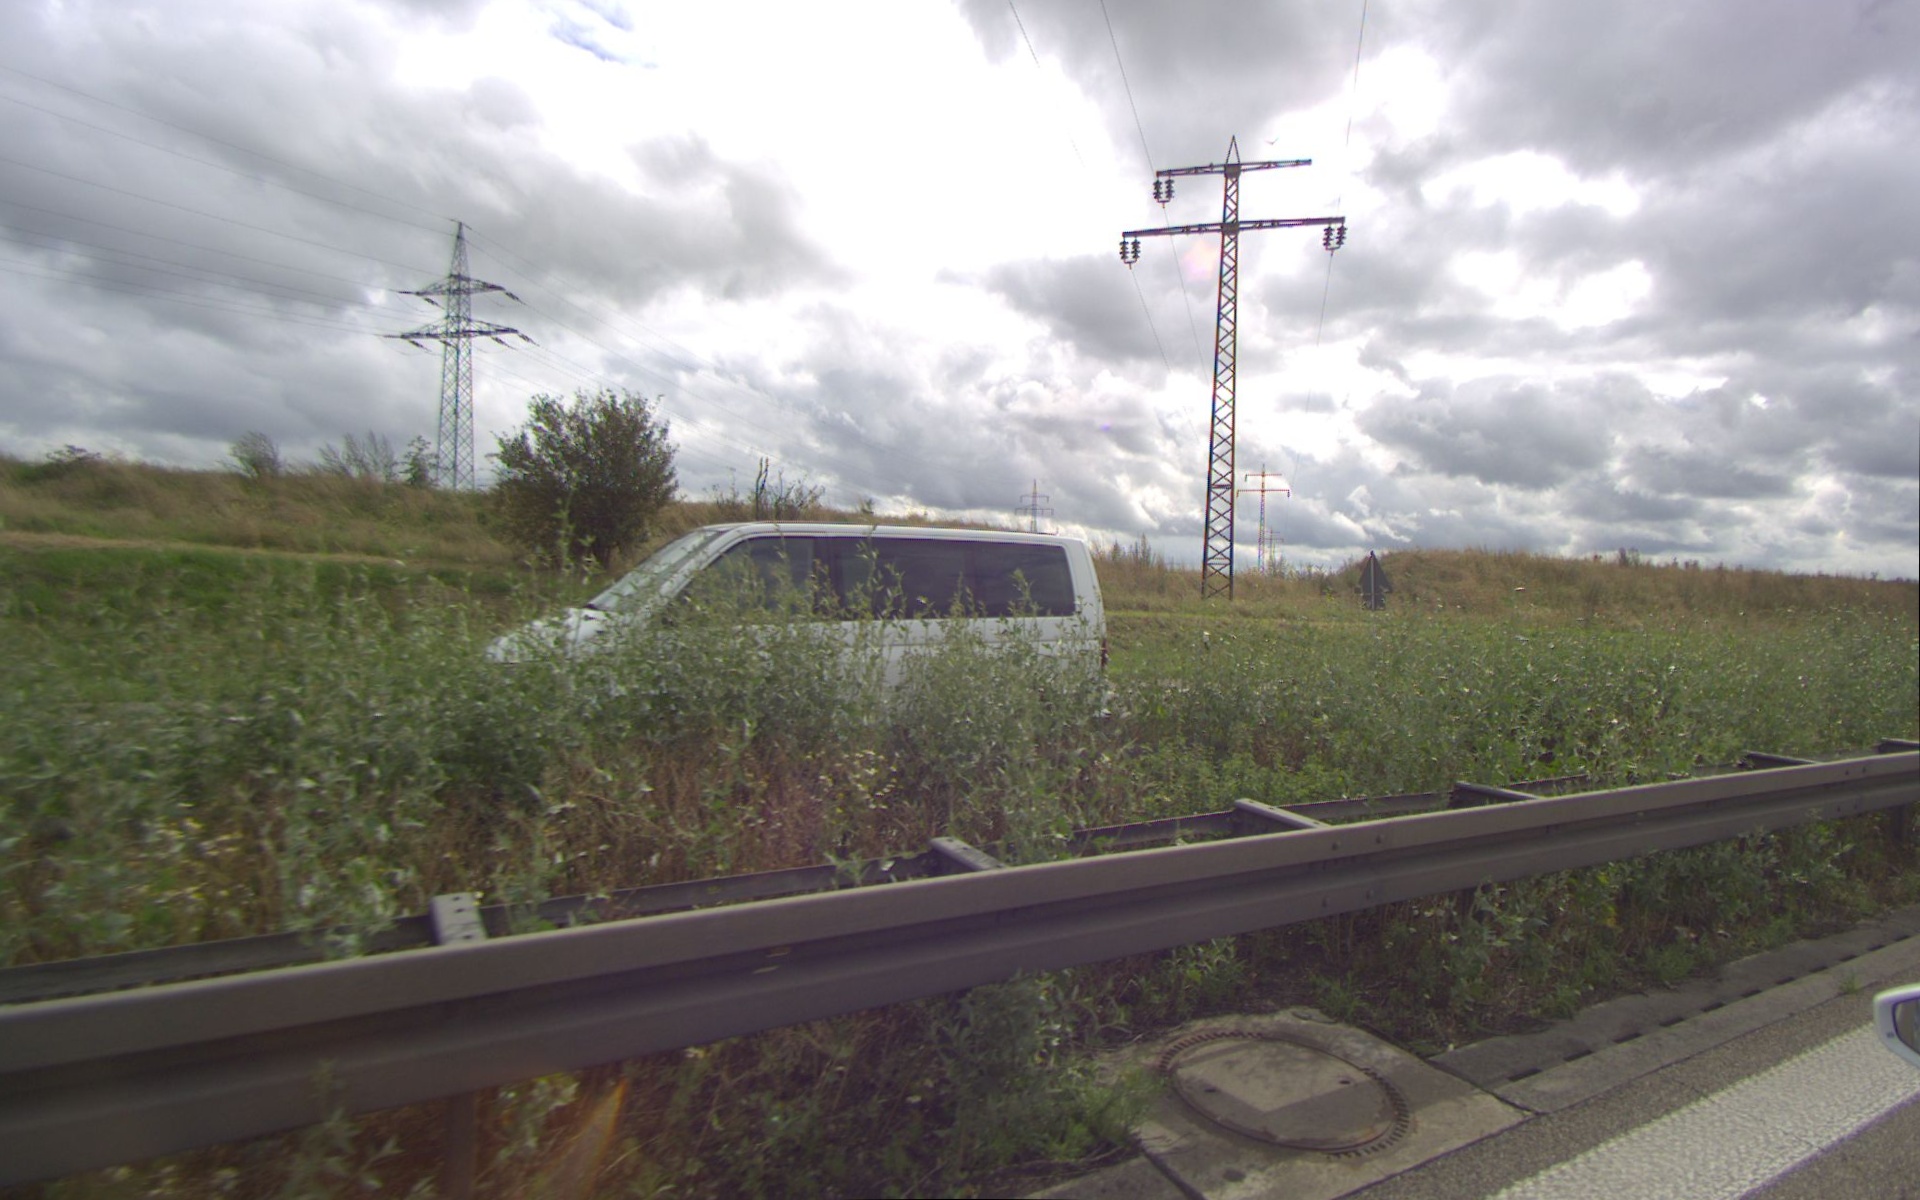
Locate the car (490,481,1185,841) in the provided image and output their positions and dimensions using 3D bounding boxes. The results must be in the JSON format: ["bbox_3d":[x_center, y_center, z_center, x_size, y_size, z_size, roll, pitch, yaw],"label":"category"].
[{"bbox_3d":[-0.815,0.400,7.820,4.974,2.040,1.984,2,0,-30],"label":"car"}]
